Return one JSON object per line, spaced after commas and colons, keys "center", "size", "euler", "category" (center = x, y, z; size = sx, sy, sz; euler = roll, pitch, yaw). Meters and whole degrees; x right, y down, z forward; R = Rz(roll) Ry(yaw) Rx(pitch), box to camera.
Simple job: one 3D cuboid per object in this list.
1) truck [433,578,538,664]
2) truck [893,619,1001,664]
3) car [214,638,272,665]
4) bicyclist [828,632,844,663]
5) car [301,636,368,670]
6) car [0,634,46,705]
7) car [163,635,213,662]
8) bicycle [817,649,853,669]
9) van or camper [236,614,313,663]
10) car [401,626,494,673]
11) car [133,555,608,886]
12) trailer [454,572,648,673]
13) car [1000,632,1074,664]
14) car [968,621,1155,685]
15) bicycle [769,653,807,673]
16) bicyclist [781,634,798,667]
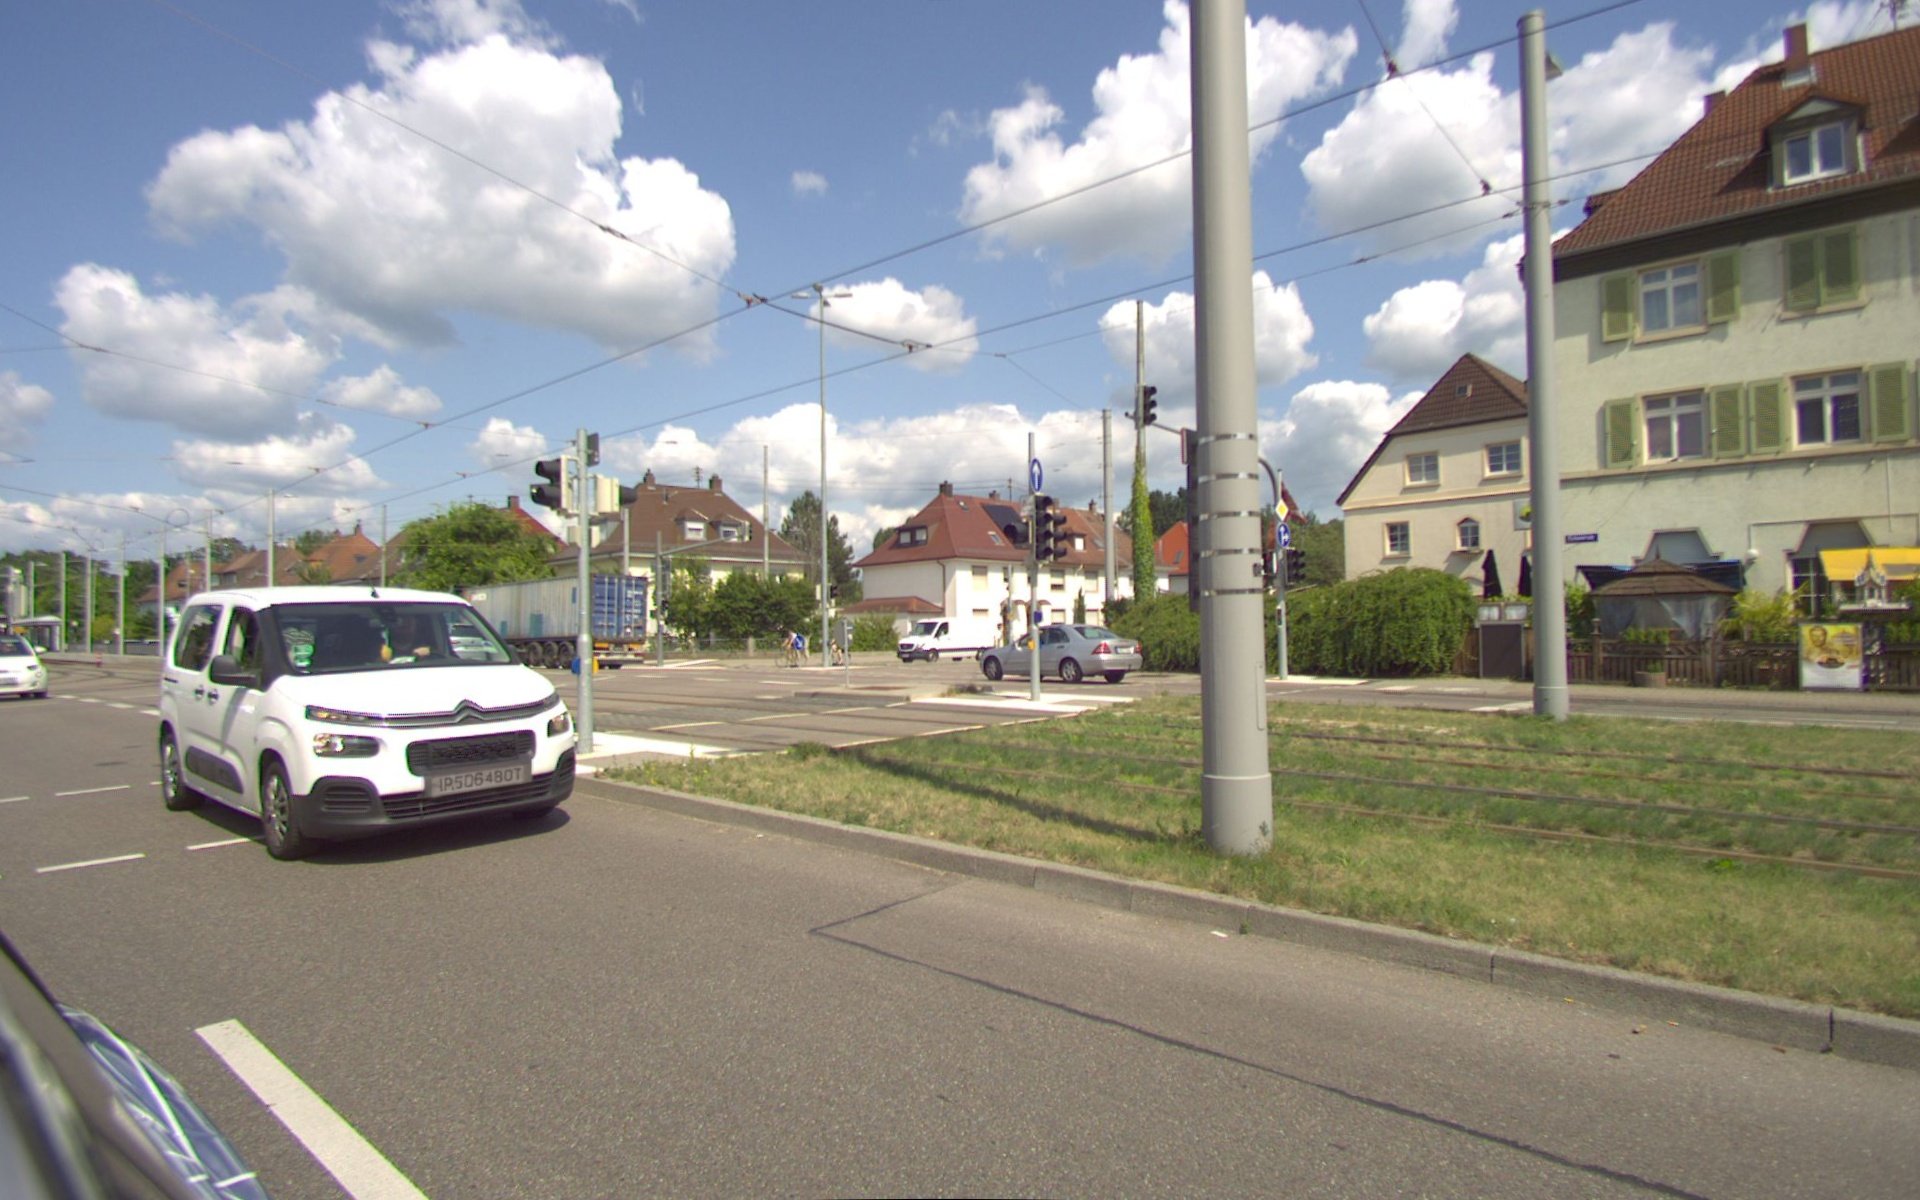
{"center": [-22.541, 1.119, 47.977], "size": [5.668, 3.851, 2.570], "euler": [-4, -5, 44], "category": "truck"}
{"center": [-0.578, 2.074, 51.805], "size": [1.690, 1.936, 6.117], "euler": [-2, 0, 43], "category": "truck"}
{"center": [-44.094, 3.178, 62.206], "size": [4.176, 1.564, 1.972], "euler": [-2, -5, 42], "category": "car"}
{"center": [-6.193, 2.343, 50.487], "size": [0.602, 1.509, 0.494], "euler": [-2, 0, 43], "category": "bicyclist"}
{"center": [-31.718, 2.649, 51.289], "size": [4.471, 1.649, 1.775], "euler": [-2, -3, 43], "category": "car"}
{"center": [-22.370, 1.586, 23.102], "size": [3.388, 1.515, 1.660], "euler": [-2, 0, 38], "category": "car"}
{"center": [-53.244, 3.354, 69.759], "size": [4.878, 1.790, 1.971], "euler": [-3, -4, 44], "category": "car"}
{"center": [-6.233, 2.933, 50.426], "size": [0.602, 0.841, 1.784], "euler": [-2, 0, 43], "category": "bicycle"}
{"center": [-46.054, 2.524, 67.921], "size": [7.749, 2.952, 2.300], "euler": [1, -1, 41], "category": "van or camper"}
{"center": [-21.297, 2.008, 42.008], "size": [4.709, 1.829, 1.776], "euler": [-2, -3, 41], "category": "car"}
{"center": [-4.643, 0.693, 7.672], "size": [4.327, 1.829, 1.776], "euler": [-2, 0, 41], "category": "car"}
{"center": [-17.931, 1.188, 43.571], "size": [12.836, 3.851, 2.570], "euler": [-3, -5, 43], "category": "trailer"}
{"center": [4.350, 2.644, 56.599], "size": [2.000, 1.564, 4.118], "euler": [-1, 0, 43], "category": "car"}
{"center": [2.375, 1.243, 24.635], "size": [1.773, 1.397, 4.475], "euler": [2, -3, -44], "category": "car"}
{"center": [-8.184, 2.990, 48.244], "size": [0.602, 0.841, 1.784], "euler": [-2, 0, 43], "category": "bicycle"}
{"center": [-8.140, 2.400, 48.326], "size": [0.602, 1.509, 0.494], "euler": [-2, 0, 43], "category": "bicyclist"}
